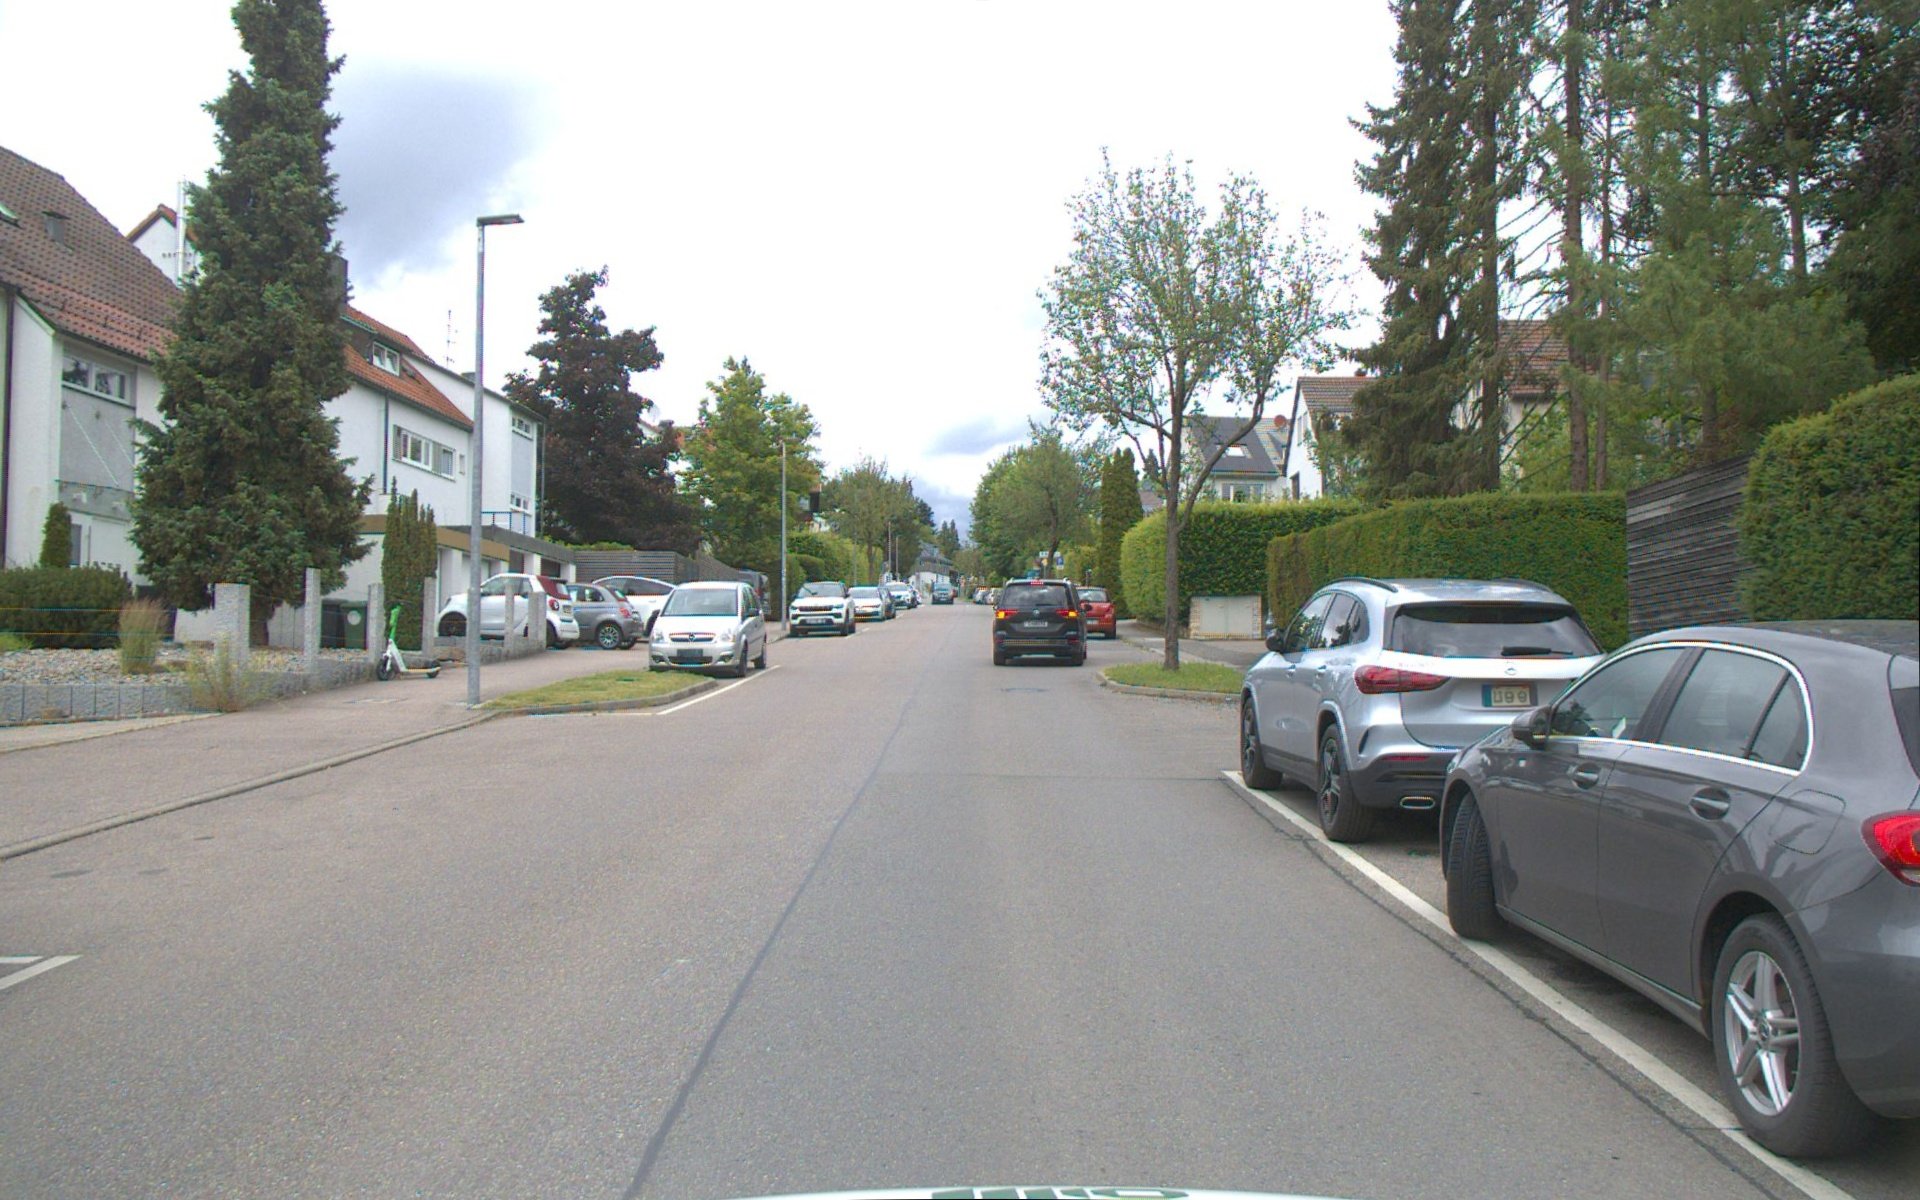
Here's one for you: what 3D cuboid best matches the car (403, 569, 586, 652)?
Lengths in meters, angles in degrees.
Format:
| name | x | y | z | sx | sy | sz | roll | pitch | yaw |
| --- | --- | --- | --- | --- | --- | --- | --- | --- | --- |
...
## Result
| name | x | y | z | sx | sy | sz | roll | pitch | yaw |
| --- | --- | --- | --- | --- | --- | --- | --- | --- | --- |
| car | -9.930 | 0.226 | 35.409 | 3.358 | 1.605 | 1.657 | 2 | -1 | 2 |

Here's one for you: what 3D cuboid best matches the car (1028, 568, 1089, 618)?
| name | x | y | z | sx | sy | sz | roll | pitch | yaw |
| --- | --- | --- | --- | --- | --- | --- | --- | --- | --- |
| car | 3.427 | -0.238 | 58.488 | 1.952 | 1.646 | 4.514 | 2 | 0 | 1 |

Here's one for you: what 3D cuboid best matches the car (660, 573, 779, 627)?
| name | x | y | z | sx | sy | sz | roll | pitch | yaw |
| --- | --- | --- | --- | --- | --- | --- | --- | --- | --- |
| car | -8.992 | 0.026 | 61.887 | 3.985 | 1.984 | 2.001 | 0 | -1 | 9 |

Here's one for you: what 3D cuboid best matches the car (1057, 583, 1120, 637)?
| name | x | y | z | sx | sy | sz | roll | pitch | yaw |
| --- | --- | --- | --- | --- | --- | --- | --- | --- | --- |
| car | 3.762 | 0.258 | 48.853 | 1.627 | 1.534 | 3.759 | 0 | 1 | 1 |

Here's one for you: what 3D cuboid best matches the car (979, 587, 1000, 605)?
| name | x | y | z | sx | sy | sz | roll | pitch | yaw |
| --- | --- | --- | --- | --- | --- | --- | --- | --- | --- |
| car | 2.656 | -0.376 | 149.556 | 1.632 | 1.527 | 3.465 | 0 | 1 | -3 |

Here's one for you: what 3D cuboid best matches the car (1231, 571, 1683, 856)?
| name | x | y | z | sx | sy | sz | roll | pitch | yaw |
| --- | --- | --- | --- | --- | --- | --- | --- | --- | --- |
| car | 3.179 | 0.645 | 11.507 | 1.817 | 1.610 | 4.171 | 1 | 0 | -1 |

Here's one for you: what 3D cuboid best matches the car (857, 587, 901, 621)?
| name | x | y | z | sx | sy | sz | roll | pitch | yaw |
| --- | --- | --- | --- | --- | --- | --- | --- | --- | --- |
| car | -3.636 | 0.175 | 74.645 | 1.691 | 1.448 | 4.080 | -1 | 0 | 1 |

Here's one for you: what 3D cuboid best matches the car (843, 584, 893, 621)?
| name | x | y | z | sx | sy | sz | roll | pitch | yaw |
| --- | --- | --- | --- | --- | --- | --- | --- | --- | --- |
| car | -3.853 | 0.091 | 69.923 | 1.800 | 1.447 | 4.408 | -2 | 0 | 0 |

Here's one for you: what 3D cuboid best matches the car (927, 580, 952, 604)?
| name | x | y | z | sx | sy | sz | roll | pitch | yaw |
| --- | --- | --- | --- | --- | --- | --- | --- | --- | --- |
| car | -1.608 | -0.646 | 130.291 | 1.846 | 1.883 | 4.402 | -1 | 0 | 0 |

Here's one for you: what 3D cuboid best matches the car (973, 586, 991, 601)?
| name | x | y | z | sx | sy | sz | roll | pitch | yaw |
| --- | --- | --- | --- | --- | --- | --- | --- | --- | --- |
| car | 2.230 | -0.710 | 169.310 | 1.632 | 1.527 | 3.465 | 0 | 1 | -3 |

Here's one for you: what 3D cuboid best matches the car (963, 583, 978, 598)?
| name | x | y | z | sx | sy | sz | roll | pitch | yaw |
| --- | --- | --- | --- | --- | --- | --- | --- | --- | --- |
| car | 1.199 | -1.073 | 191.528 | 1.611 | 1.697 | 3.465 | 0 | 1 | -3 |

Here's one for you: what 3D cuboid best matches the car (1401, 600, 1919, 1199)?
| name | x | y | z | sx | sy | sz | roll | pitch | yaw |
| --- | --- | --- | --- | --- | --- | --- | --- | --- | --- |
| car | 3.079 | 0.759 | 5.920 | 1.817 | 1.489 | 4.171 | 1 | 0 | -1 |

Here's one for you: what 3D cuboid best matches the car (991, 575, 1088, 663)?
| name | x | y | z | sx | sy | sz | roll | pitch | yaw |
| --- | --- | --- | --- | --- | --- | --- | --- | --- | --- |
| car | 1.547 | 0.350 | 33.012 | 1.809 | 1.640 | 4.312 | 0 | 0 | 2 |

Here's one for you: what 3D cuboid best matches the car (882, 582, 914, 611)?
| name | x | y | z | sx | sy | sz | roll | pitch | yaw |
| --- | --- | --- | --- | --- | --- | --- | --- | --- | --- |
| car | -3.517 | -0.204 | 94.271 | 1.687 | 1.567 | 3.999 | -1 | 1 | -1 |

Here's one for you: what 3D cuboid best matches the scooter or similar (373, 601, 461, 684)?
| name | x | y | z | sx | sy | sz | roll | pitch | yaw |
| --- | --- | --- | --- | --- | --- | --- | --- | --- | --- |
| scooter or similar | -8.056 | 0.617 | 24.577 | 0.464 | 1.168 | 1.455 | 2 | 1 | 16 |

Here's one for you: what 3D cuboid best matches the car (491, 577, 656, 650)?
| name | x | y | z | sx | sy | sz | roll | pitch | yaw |
| --- | --- | --- | --- | --- | --- | --- | --- | --- | --- |
| car | -8.952 | 0.313 | 38.461 | 3.358 | 1.539 | 1.693 | 2 | -1 | 2 |

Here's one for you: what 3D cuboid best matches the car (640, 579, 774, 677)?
| name | x | y | z | sx | sy | sz | roll | pitch | yaw |
| --- | --- | --- | --- | --- | --- | --- | --- | --- | --- |
| car | -4.411 | 0.454 | 29.353 | 1.724 | 1.590 | 3.855 | -1 | 0 | 0 |

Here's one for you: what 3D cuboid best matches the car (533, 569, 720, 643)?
| name | x | y | z | sx | sy | sz | roll | pitch | yaw |
| --- | --- | --- | --- | --- | --- | --- | --- | --- | --- |
| car | -8.455 | 0.147 | 42.240 | 4.321 | 1.657 | 1.911 | 3 | 0 | 0 |

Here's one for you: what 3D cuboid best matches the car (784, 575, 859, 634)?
| name | x | y | z | sx | sy | sz | roll | pitch | yaw |
| --- | --- | --- | --- | --- | --- | --- | --- | --- | --- |
| car | -4.227 | 0.122 | 51.084 | 1.799 | 1.695 | 4.409 | -2 | 0 | 2 |

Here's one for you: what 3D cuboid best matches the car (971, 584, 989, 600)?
| name | x | y | z | sx | sy | sz | roll | pitch | yaw |
| --- | --- | --- | --- | --- | --- | --- | --- | --- | --- |
| car | 2.103 | -0.885 | 176.322 | 1.632 | 1.697 | 3.465 | 0 | 1 | -3 |

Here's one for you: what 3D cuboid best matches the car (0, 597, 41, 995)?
| name | x | y | z | sx | sy | sz | roll | pitch | yaw |
| --- | --- | --- | --- | --- | --- | --- | --- | --- | --- |
| car | -4.727 | 0.787 | 5.038 | 1.839 | 1.563 | 3.508 | 0 | 0 | 1 |
